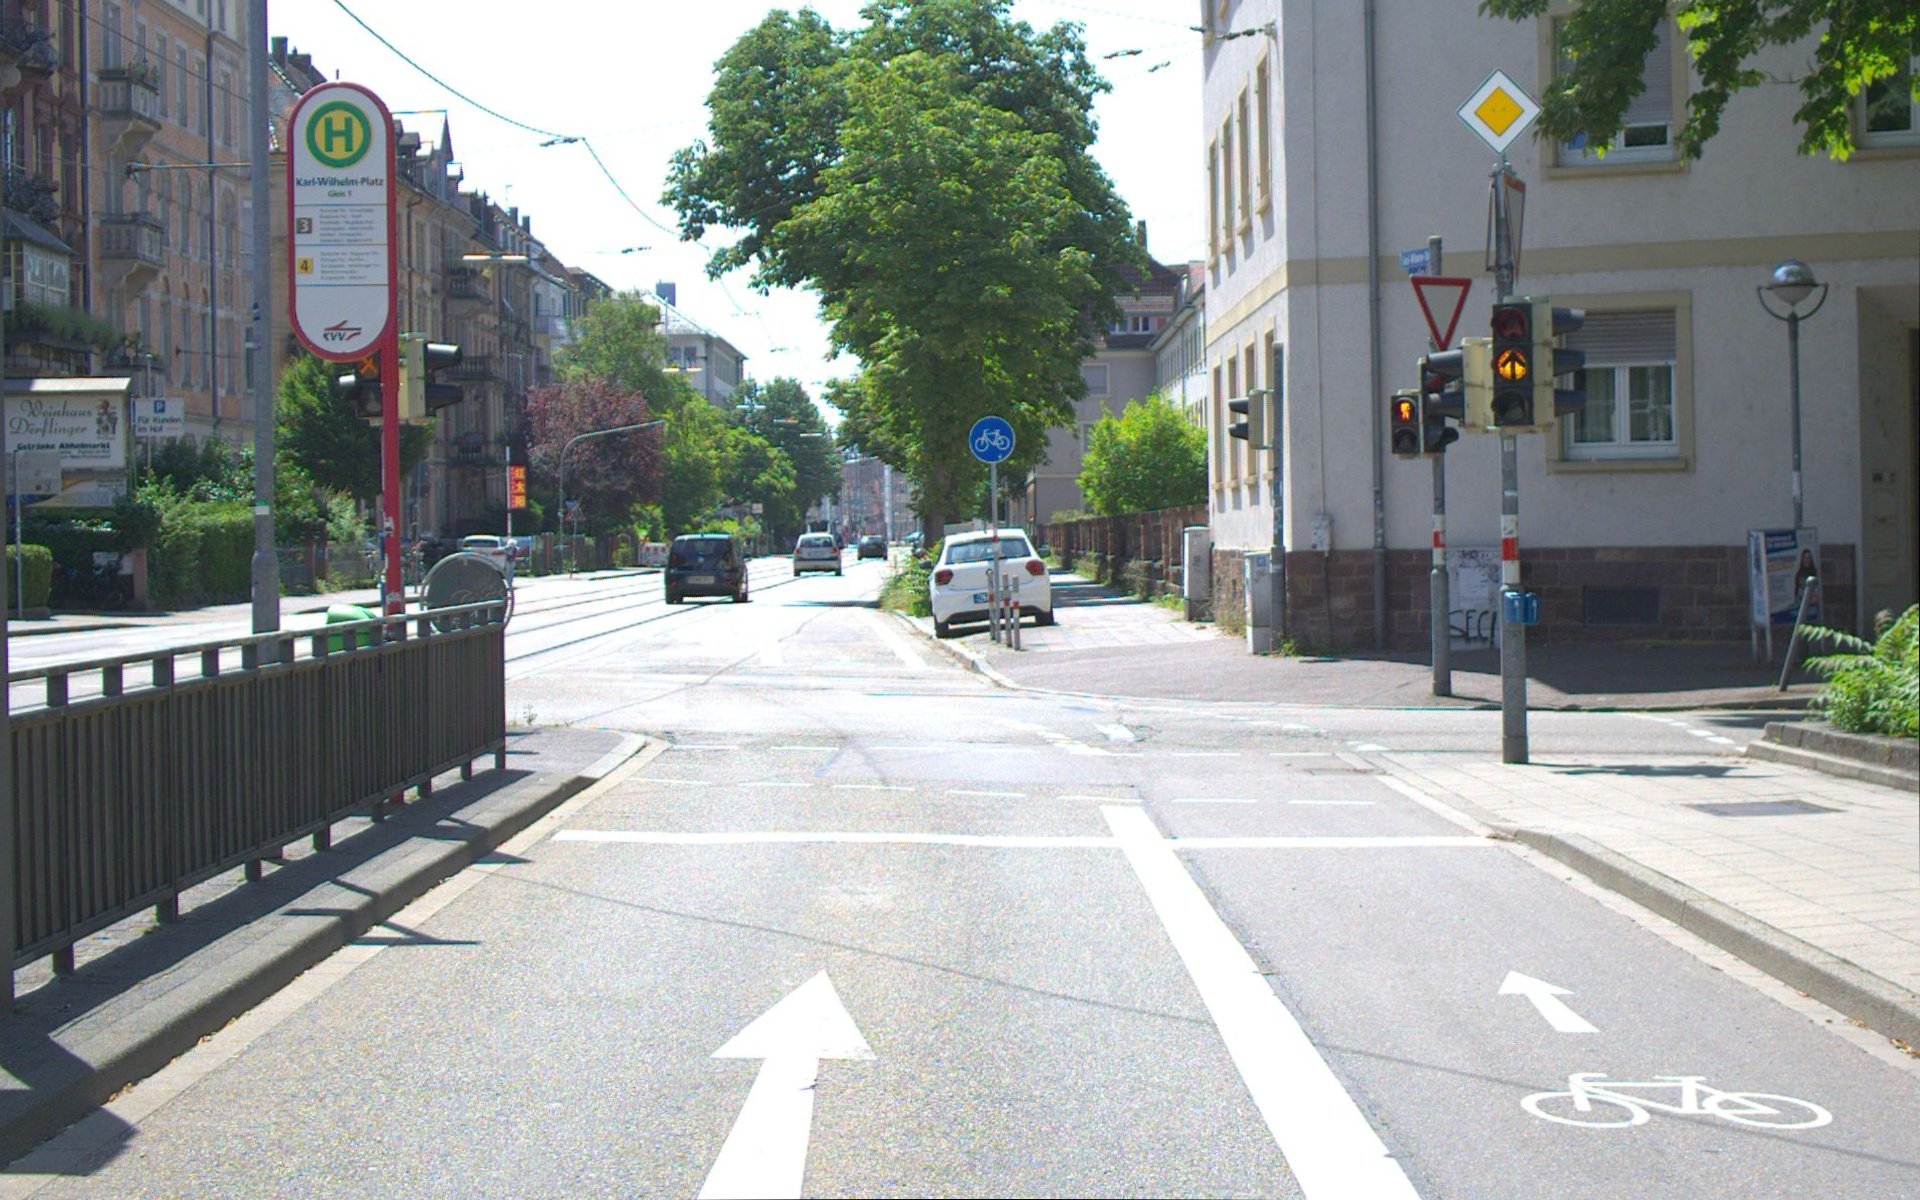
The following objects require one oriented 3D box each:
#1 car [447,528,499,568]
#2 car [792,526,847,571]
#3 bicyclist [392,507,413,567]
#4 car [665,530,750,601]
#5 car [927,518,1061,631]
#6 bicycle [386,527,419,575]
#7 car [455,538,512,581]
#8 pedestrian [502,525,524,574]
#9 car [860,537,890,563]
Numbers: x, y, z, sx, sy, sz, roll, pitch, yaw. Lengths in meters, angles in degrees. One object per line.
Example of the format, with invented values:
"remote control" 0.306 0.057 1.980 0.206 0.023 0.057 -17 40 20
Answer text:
"car" -19.338 -2.063 136.706 1.628 1.467 3.564 -4 1 -3
"car" -4.951 -1.814 121.182 1.747 1.467 3.938 -4 1 -1
"bicyclist" -16.339 -1.845 100.773 0.542 1.757 0.498 0 1 -1
"car" -5.404 -0.749 73.853 1.525 1.439 3.365 -2 1 0
"car" 0.462 -0.384 50.091 1.747 1.467 3.938 -4 1 -1
"bicycle" -16.347 -1.437 100.859 0.577 1.383 2.501 0 1 -1
"car" -17.802 -1.508 128.552 1.684 1.467 3.939 -4 1 -3
"pedestrian" -15.657 -1.773 120.370 0.678 1.721 0.677 0 1 -1
"car" -5.097 -2.979 205.183 1.628 1.467 3.564 -4 1 -3
